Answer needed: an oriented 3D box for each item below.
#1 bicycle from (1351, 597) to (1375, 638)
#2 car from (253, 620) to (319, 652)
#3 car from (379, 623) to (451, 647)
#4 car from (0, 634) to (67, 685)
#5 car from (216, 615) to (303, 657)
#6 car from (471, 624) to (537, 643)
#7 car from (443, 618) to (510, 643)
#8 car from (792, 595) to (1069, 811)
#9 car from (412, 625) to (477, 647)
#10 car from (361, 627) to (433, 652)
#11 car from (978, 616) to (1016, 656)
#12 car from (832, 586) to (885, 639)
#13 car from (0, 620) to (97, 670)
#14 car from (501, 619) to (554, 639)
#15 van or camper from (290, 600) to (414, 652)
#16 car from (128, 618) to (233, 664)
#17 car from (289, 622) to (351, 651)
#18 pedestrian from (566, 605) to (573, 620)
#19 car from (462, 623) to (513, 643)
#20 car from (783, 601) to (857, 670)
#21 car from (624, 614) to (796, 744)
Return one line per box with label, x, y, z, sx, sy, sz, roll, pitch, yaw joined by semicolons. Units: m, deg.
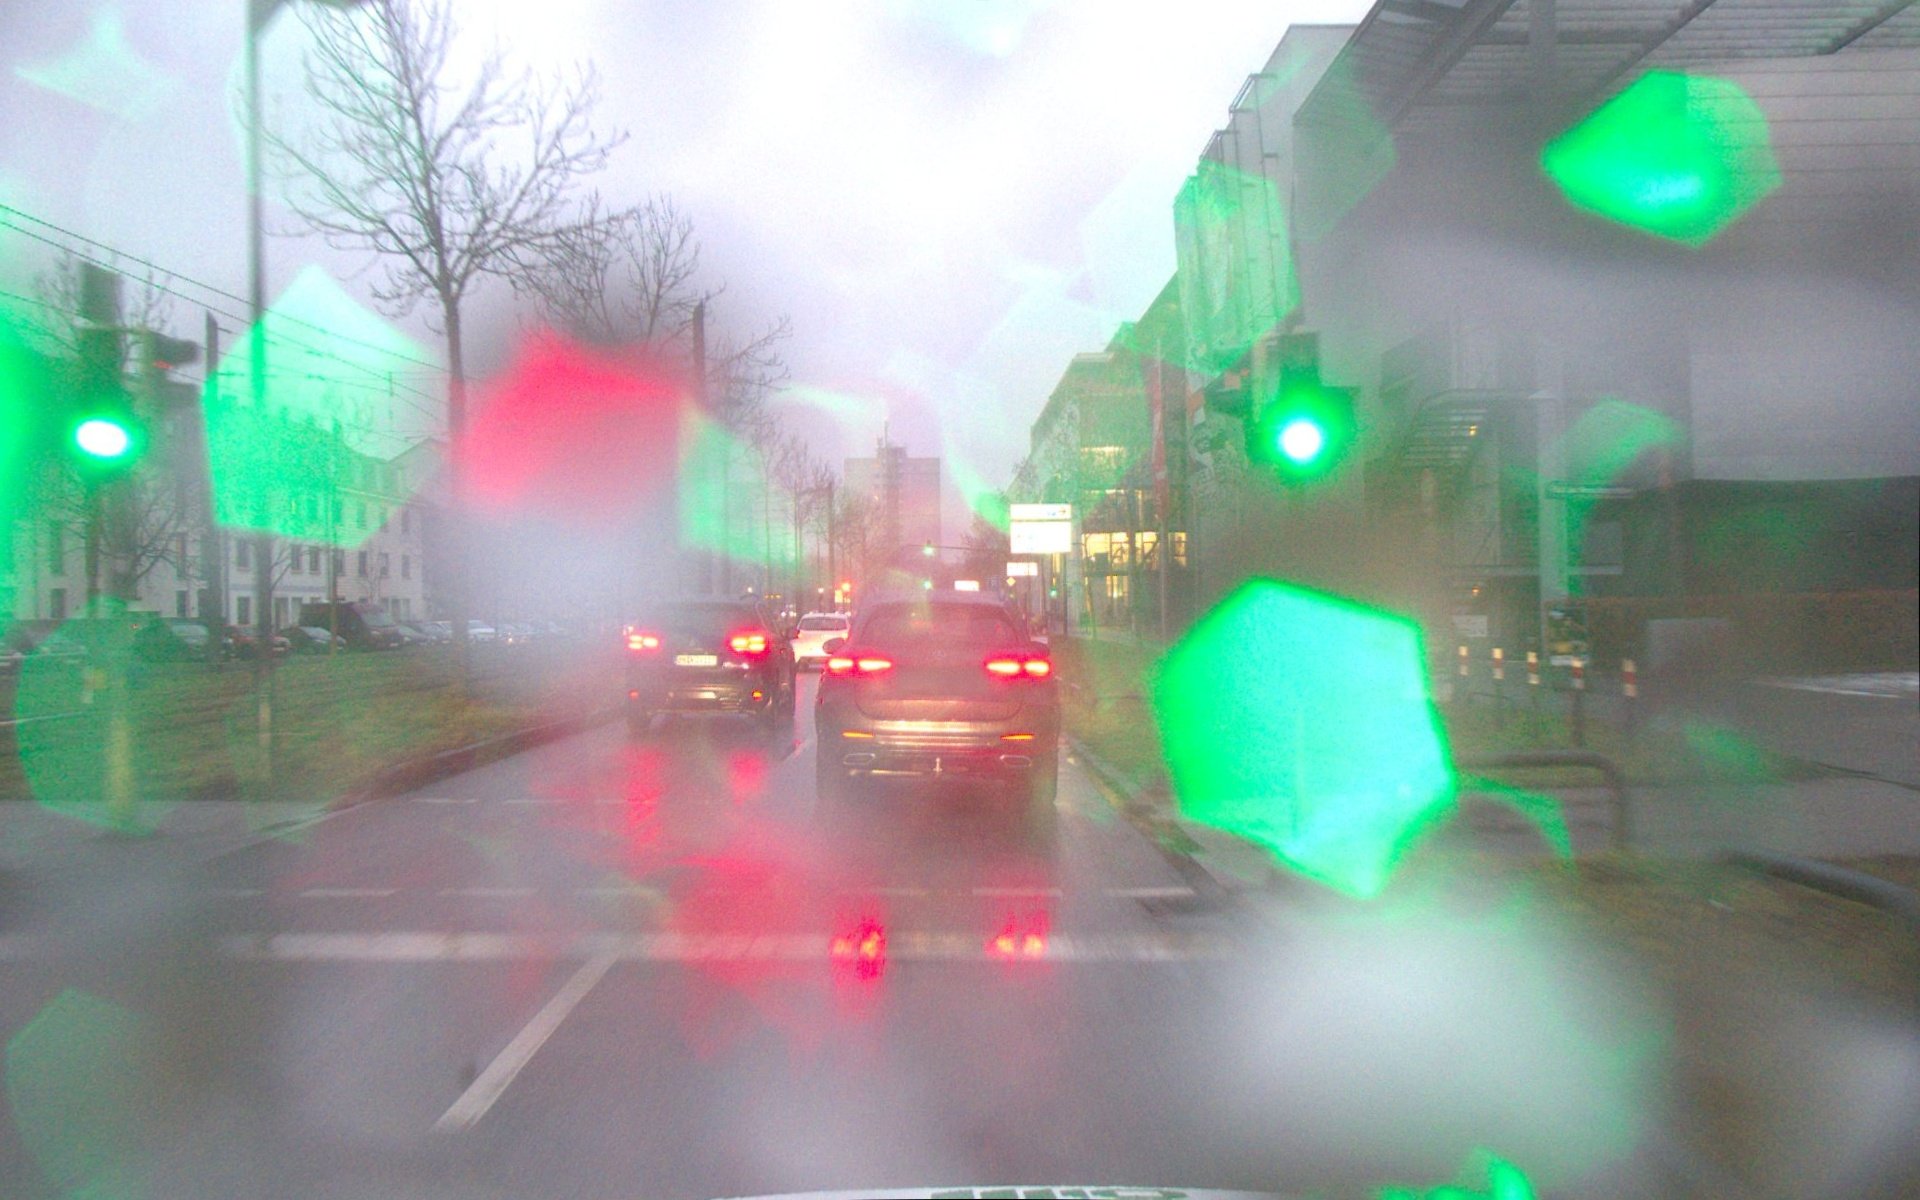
bicycle;13.027;0.567;53.480;0.402;1.307;1.743;0;-1;26
car;-29.296;1.569;71.885;3.040;1.325;1.381;0;-1;40
car;-29.437;1.888;89.274;3.463;1.221;1.878;1;-1;30
car;-27.684;1.711;48.168;2.874;1.359;1.733;1;0;31
car;-28.502;1.442;67.272;3.778;1.616;1.733;0;-1;40
car;-29.246;2.131;106.039;4.097;1.135;1.678;1;-1;30
car;-29.203;1.838;99.878;4.041;1.402;1.766;1;-1;36
car;-0.251;0.757;13.648;1.953;1.509;3.698;1;-1;-2
car;-28.961;1.995;92.934;3.344;1.167;1.688;1;-1;30
car;-29.433;2.038;86.473;3.463;1.233;1.744;1;-1;30
car;1.741;1.660;77.224;1.605;1.758;4.001;1;0;3
car;-3.577;0.471;58.684;1.628;1.790;3.567;1;-1;0
car;-28.277;1.377;51.023;3.319;1.447;1.663;1;-1;38
car;-29.643;1.989;113.356;3.691;1.360;1.448;-1;0;35
van or camper;-29.651;1.247;80.618;6.736;2.401;1.995;1;-1;33
car;-28.607;1.484;60.647;4.078;1.568;1.664;1;-1;35
car;-28.658;1.614;74.018;2.835;1.225;1.381;0;-1;40
pedestrian;-31.777;0.983;134.506;0.343;1.205;0.427;1;-1;-42
car;-29.344;2.025;102.741;2.978;1.167;1.394;1;-1;30
car;-3.547;0.887;42.404;1.655;1.664;3.472;1;0;-1
car;-3.111;0.940;21.271;1.781;1.476;3.997;1;0;-3
